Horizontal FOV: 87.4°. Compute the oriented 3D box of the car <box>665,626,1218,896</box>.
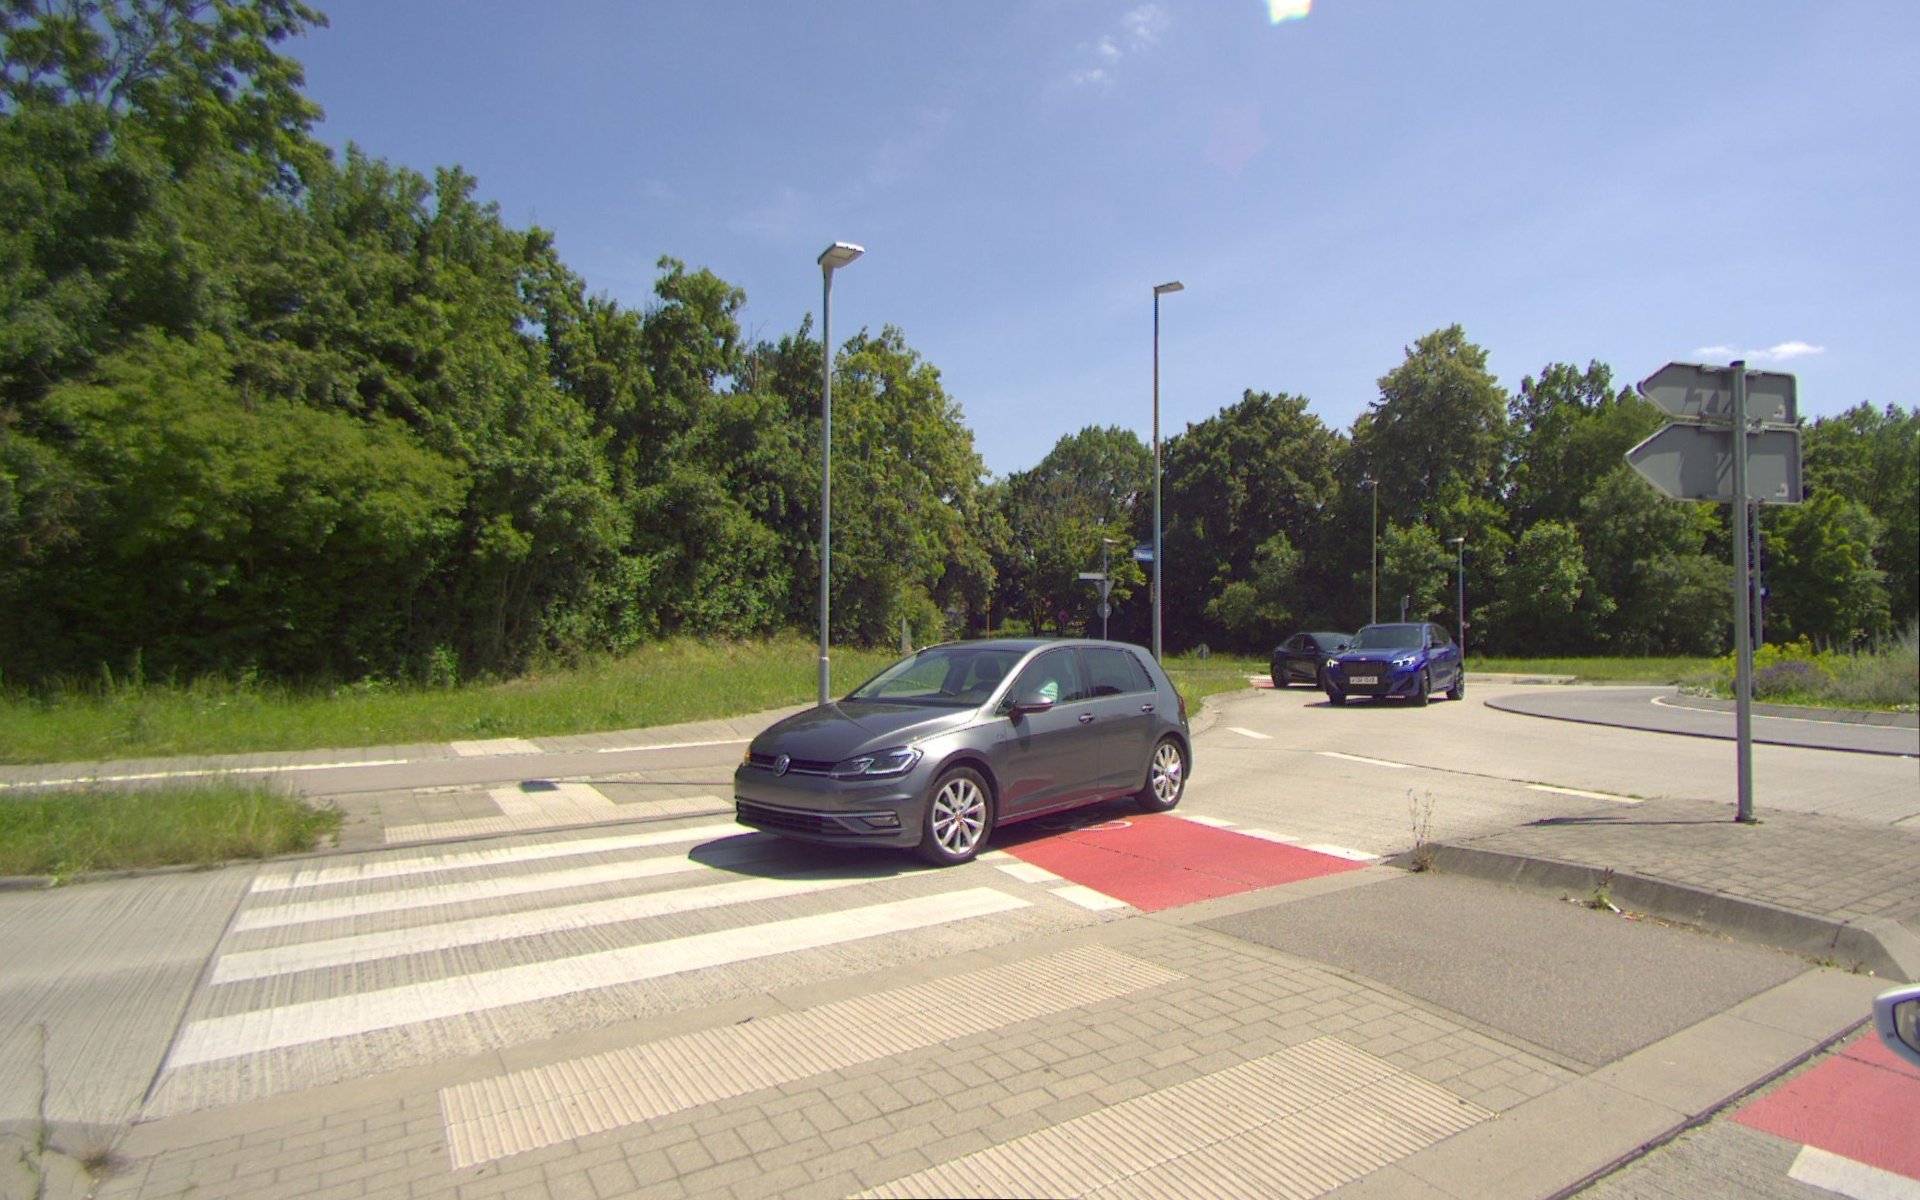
[{"bbox_3d":[0.106,0.990,7.872,1.972,1.498,4.266,-3,-3,41],"label":"car"}]

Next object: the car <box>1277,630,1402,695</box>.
[{"bbox_3d":[10.561,1.685,28.356,1.960,1.661,4.760,0,-2,3],"label":"car"}]

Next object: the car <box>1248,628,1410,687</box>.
[{"bbox_3d":[10.500,1.603,28.950,1.929,1.514,4.541,1,-1,-20],"label":"car"}]

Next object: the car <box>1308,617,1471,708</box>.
[{"bbox_3d":[8.860,1.208,20.523,1.969,1.617,4.304,-3,-2,38],"label":"car"}]
